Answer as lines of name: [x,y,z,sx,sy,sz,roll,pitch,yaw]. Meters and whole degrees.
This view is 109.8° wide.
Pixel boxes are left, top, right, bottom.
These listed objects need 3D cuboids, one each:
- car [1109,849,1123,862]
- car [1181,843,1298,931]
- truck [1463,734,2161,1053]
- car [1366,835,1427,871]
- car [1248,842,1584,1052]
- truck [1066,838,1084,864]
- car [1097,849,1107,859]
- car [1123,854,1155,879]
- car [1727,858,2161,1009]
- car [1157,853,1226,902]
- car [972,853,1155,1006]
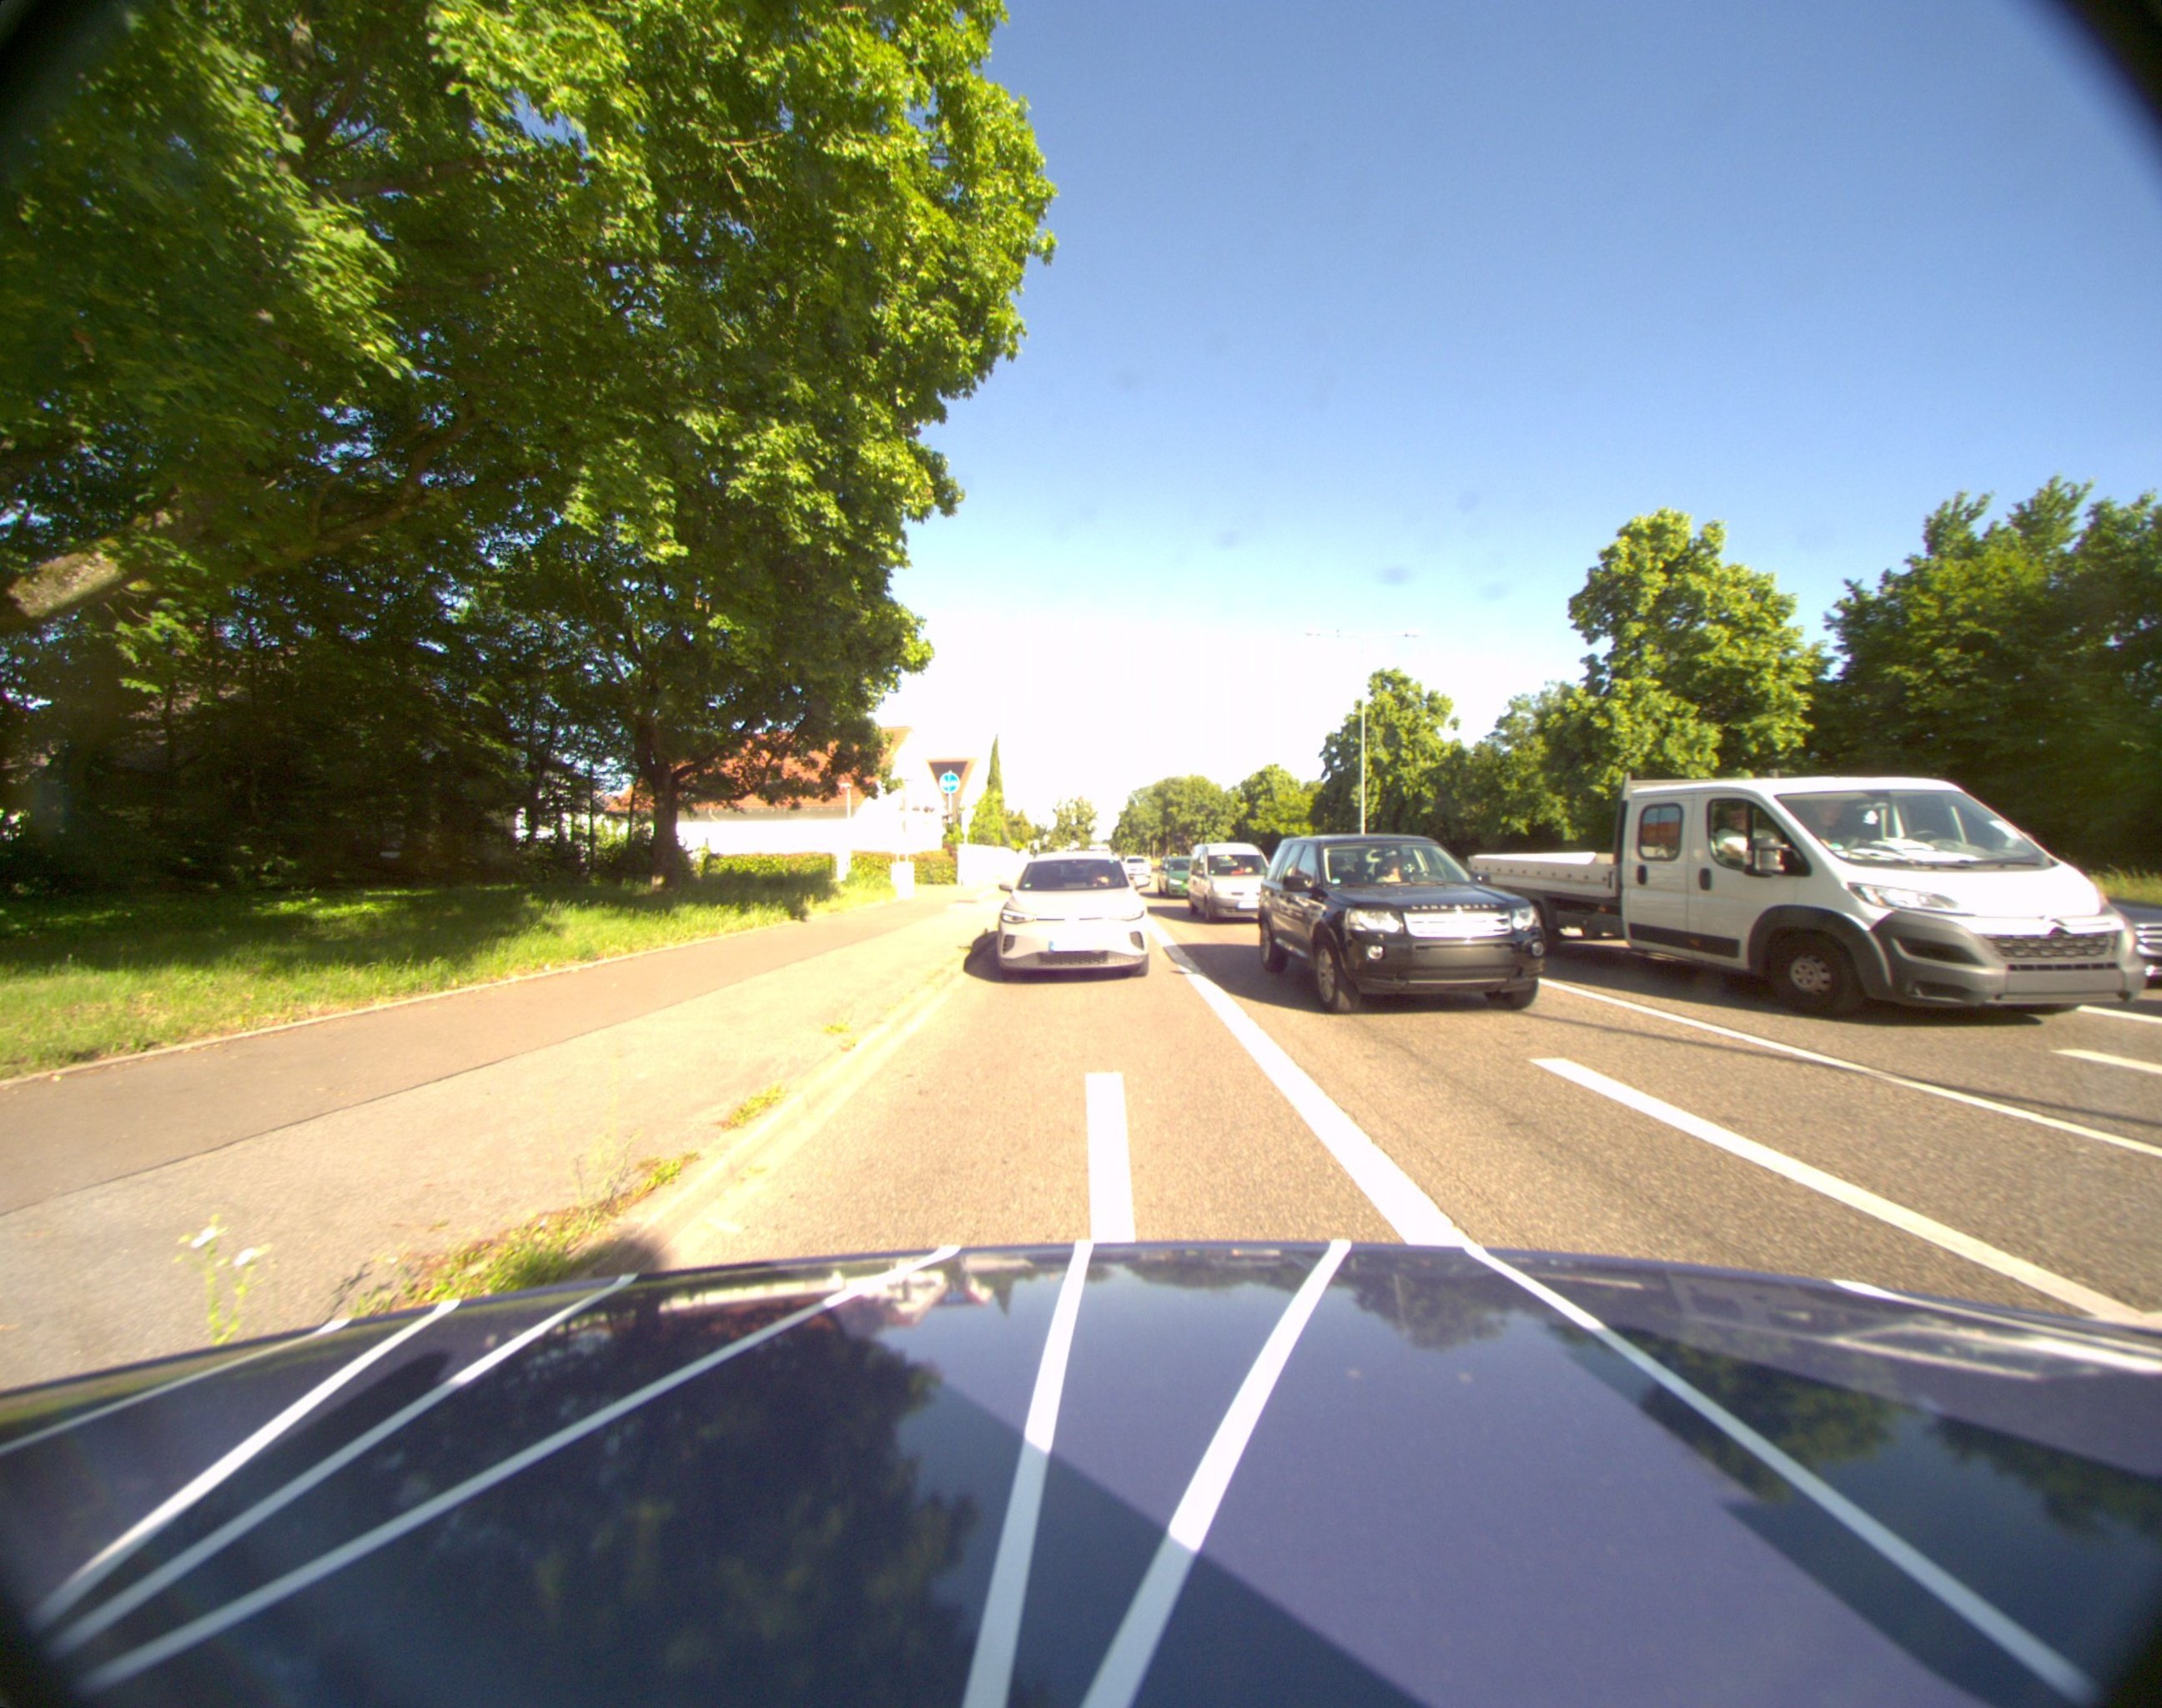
car: [4.928,0.225,108.136,1.798,1.787,3.912,-2,0,1]
car: [3.513,0.665,17.664,1.919,1.718,4.365,-2,0,2]
truck: [7.255,0.280,8.862,2.190,2.296,6.774,0,0,0]
car: [19.664,-0.052,47.584,1.917,2.072,4.539,-2,0,1]
car: [3.179,0.741,8.315,1.826,1.674,4.392,-1,0,2]
truck: [-0.689,-0.342,92.871,1.998,3.058,5.807,-2,0,0]
car: [4.047,-0.044,147.041,1.840,1.787,3.912,-2,0,1]
car: [3.777,0.772,50.365,1.919,1.477,4.365,-2,0,2]
car: [10.760,0.771,9.418,1.835,1.397,4.355,0,0,1]
car: [3.766,0.756,26.545,1.919,1.477,4.365,-2,0,2]
car: [-0.103,0.848,10.670,1.992,1.631,4.365,-2,0,2]
